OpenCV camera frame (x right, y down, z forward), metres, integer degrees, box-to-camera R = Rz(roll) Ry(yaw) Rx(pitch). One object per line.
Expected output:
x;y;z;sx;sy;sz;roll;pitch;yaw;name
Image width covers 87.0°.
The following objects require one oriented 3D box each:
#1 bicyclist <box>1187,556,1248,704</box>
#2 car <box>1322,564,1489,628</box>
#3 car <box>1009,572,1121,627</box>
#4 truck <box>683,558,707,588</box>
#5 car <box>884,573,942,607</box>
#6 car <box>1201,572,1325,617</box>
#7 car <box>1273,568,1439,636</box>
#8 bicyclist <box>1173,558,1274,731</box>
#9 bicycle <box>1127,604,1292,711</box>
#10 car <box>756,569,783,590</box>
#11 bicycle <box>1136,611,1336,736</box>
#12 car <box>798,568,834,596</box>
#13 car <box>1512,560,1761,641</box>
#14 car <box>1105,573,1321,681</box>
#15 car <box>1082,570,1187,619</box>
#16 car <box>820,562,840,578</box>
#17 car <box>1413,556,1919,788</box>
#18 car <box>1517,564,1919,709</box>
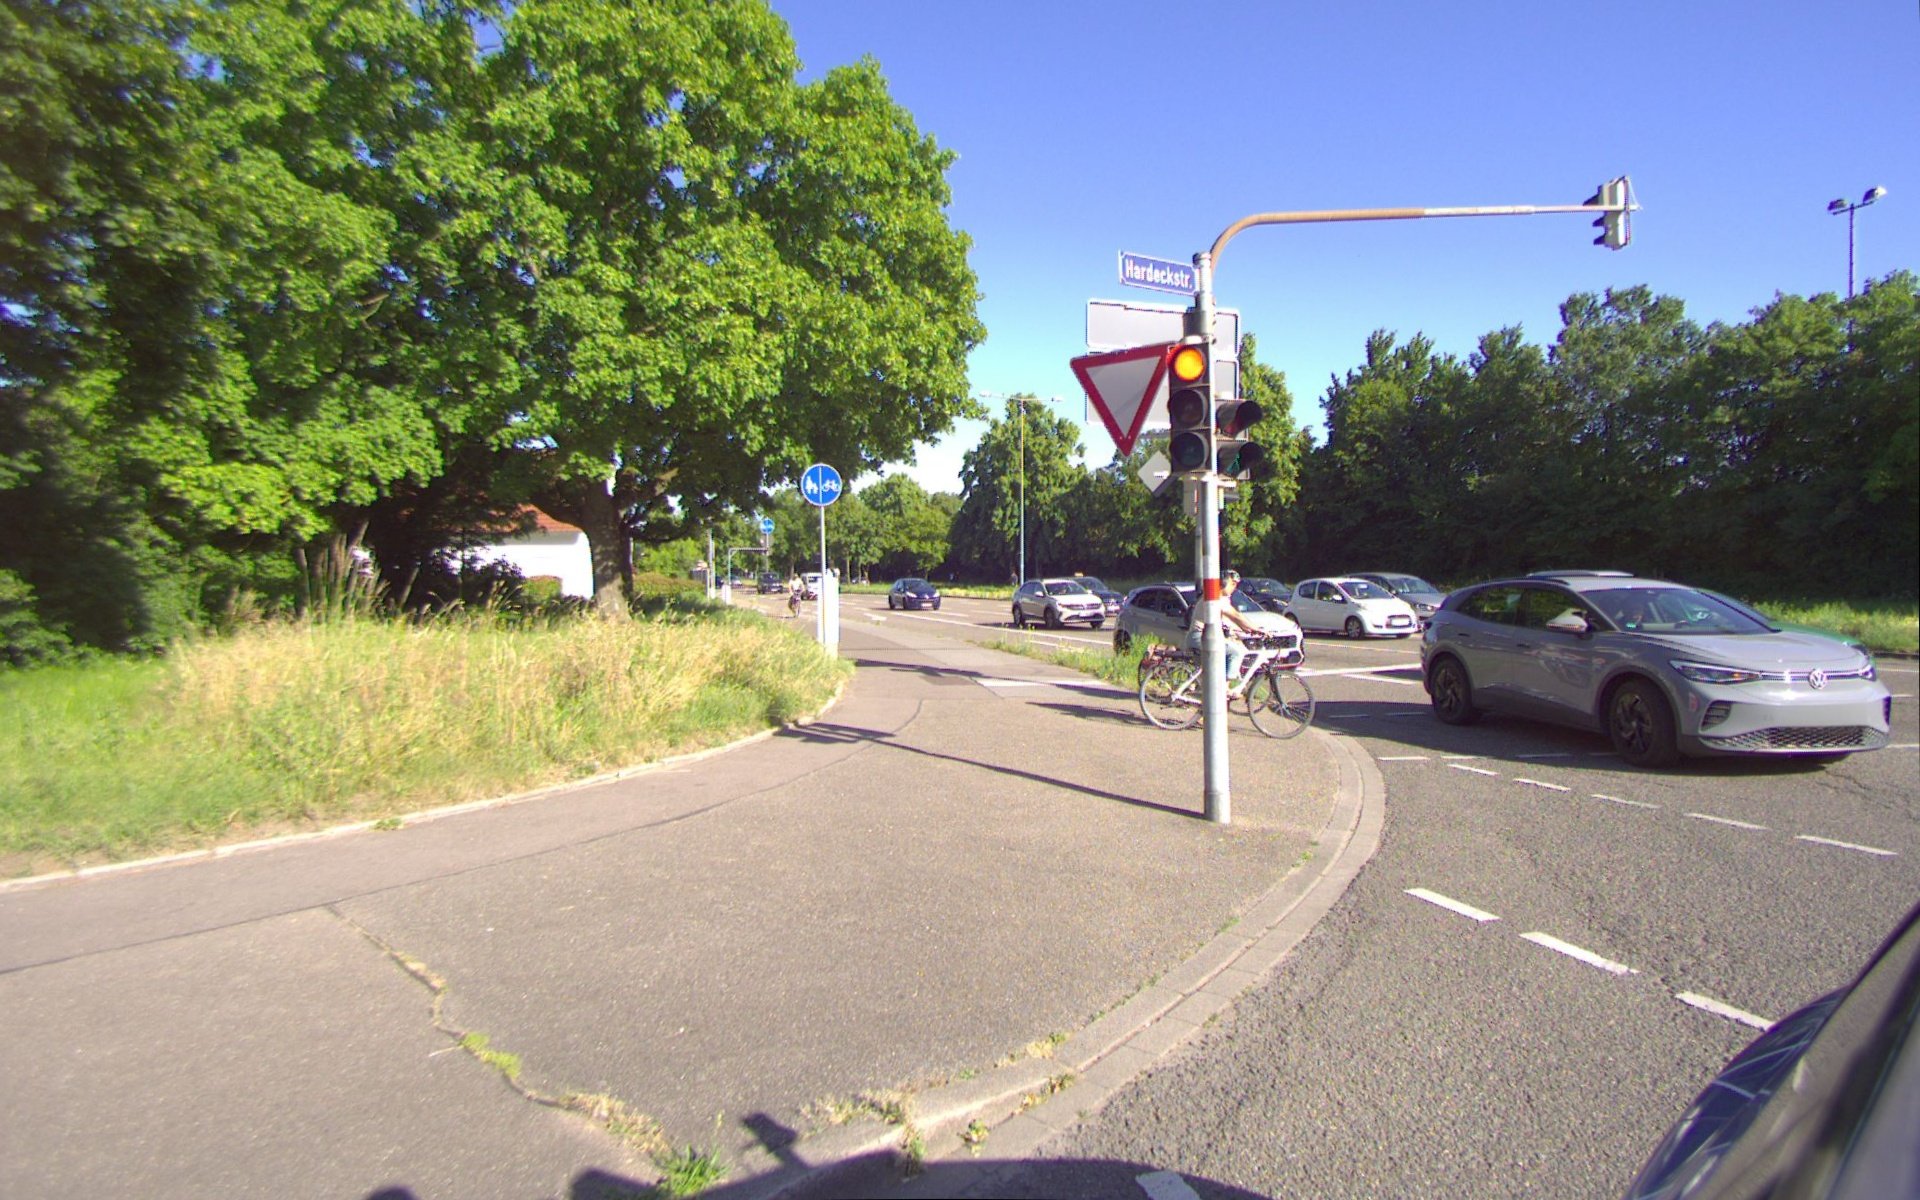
3.113;0.340;12.217;0.579;1.716;0.523;3;4;21;bicyclist
12.183;-0.170;28.021;1.840;1.594;4.253;-1;2;-19;car
3.188;-0.087;31.696;1.881;1.504;4.375;-3;2;-17;car
-28.698;-2.906;109.486;1.958;3.114;5.821;-3;2;-19;truck
-2.267;-0.521;48.001;1.658;1.457;3.921;-3;3;-19;car
10.126;-0.241;34.199;1.798;1.422;4.365;-1;2;-19;car
9.685;-0.019;25.059;1.658;1.457;3.921;-3;3;-19;car
2.675;0.433;10.340;0.793;1.654;0.543;4;3;4;bicyclist
3.017;0.669;12.275;1.848;1.089;0.527;3;4;22;bicycle
-17.464;-1.910;92.446;1.803;1.820;3.921;-3;2;-19;car
2.794;0.732;10.375;1.837;1.089;0.530;4;4;5;bicycle
-10.144;-1.287;71.185;1.762;1.820;3.921;-3;2;-19;car
14.332;-0.050;21.746;1.798;1.557;4.204;0;2;-19;car
4.279;0.357;17.824;1.658;1.592;4.130;-3;2;-19;car
6.155;-0.244;36.133;1.591;1.559;4.007;-3;3;-26;car
-18.385;-4.285;143.038;1.878;2.110;4.550;-3;2;-18;car
6.554;0.451;9.841;1.954;1.660;4.371;-3;2;-6;car
9.652;0.333;13.436;1.883;1.504;4.369;-2;2;-3;car
